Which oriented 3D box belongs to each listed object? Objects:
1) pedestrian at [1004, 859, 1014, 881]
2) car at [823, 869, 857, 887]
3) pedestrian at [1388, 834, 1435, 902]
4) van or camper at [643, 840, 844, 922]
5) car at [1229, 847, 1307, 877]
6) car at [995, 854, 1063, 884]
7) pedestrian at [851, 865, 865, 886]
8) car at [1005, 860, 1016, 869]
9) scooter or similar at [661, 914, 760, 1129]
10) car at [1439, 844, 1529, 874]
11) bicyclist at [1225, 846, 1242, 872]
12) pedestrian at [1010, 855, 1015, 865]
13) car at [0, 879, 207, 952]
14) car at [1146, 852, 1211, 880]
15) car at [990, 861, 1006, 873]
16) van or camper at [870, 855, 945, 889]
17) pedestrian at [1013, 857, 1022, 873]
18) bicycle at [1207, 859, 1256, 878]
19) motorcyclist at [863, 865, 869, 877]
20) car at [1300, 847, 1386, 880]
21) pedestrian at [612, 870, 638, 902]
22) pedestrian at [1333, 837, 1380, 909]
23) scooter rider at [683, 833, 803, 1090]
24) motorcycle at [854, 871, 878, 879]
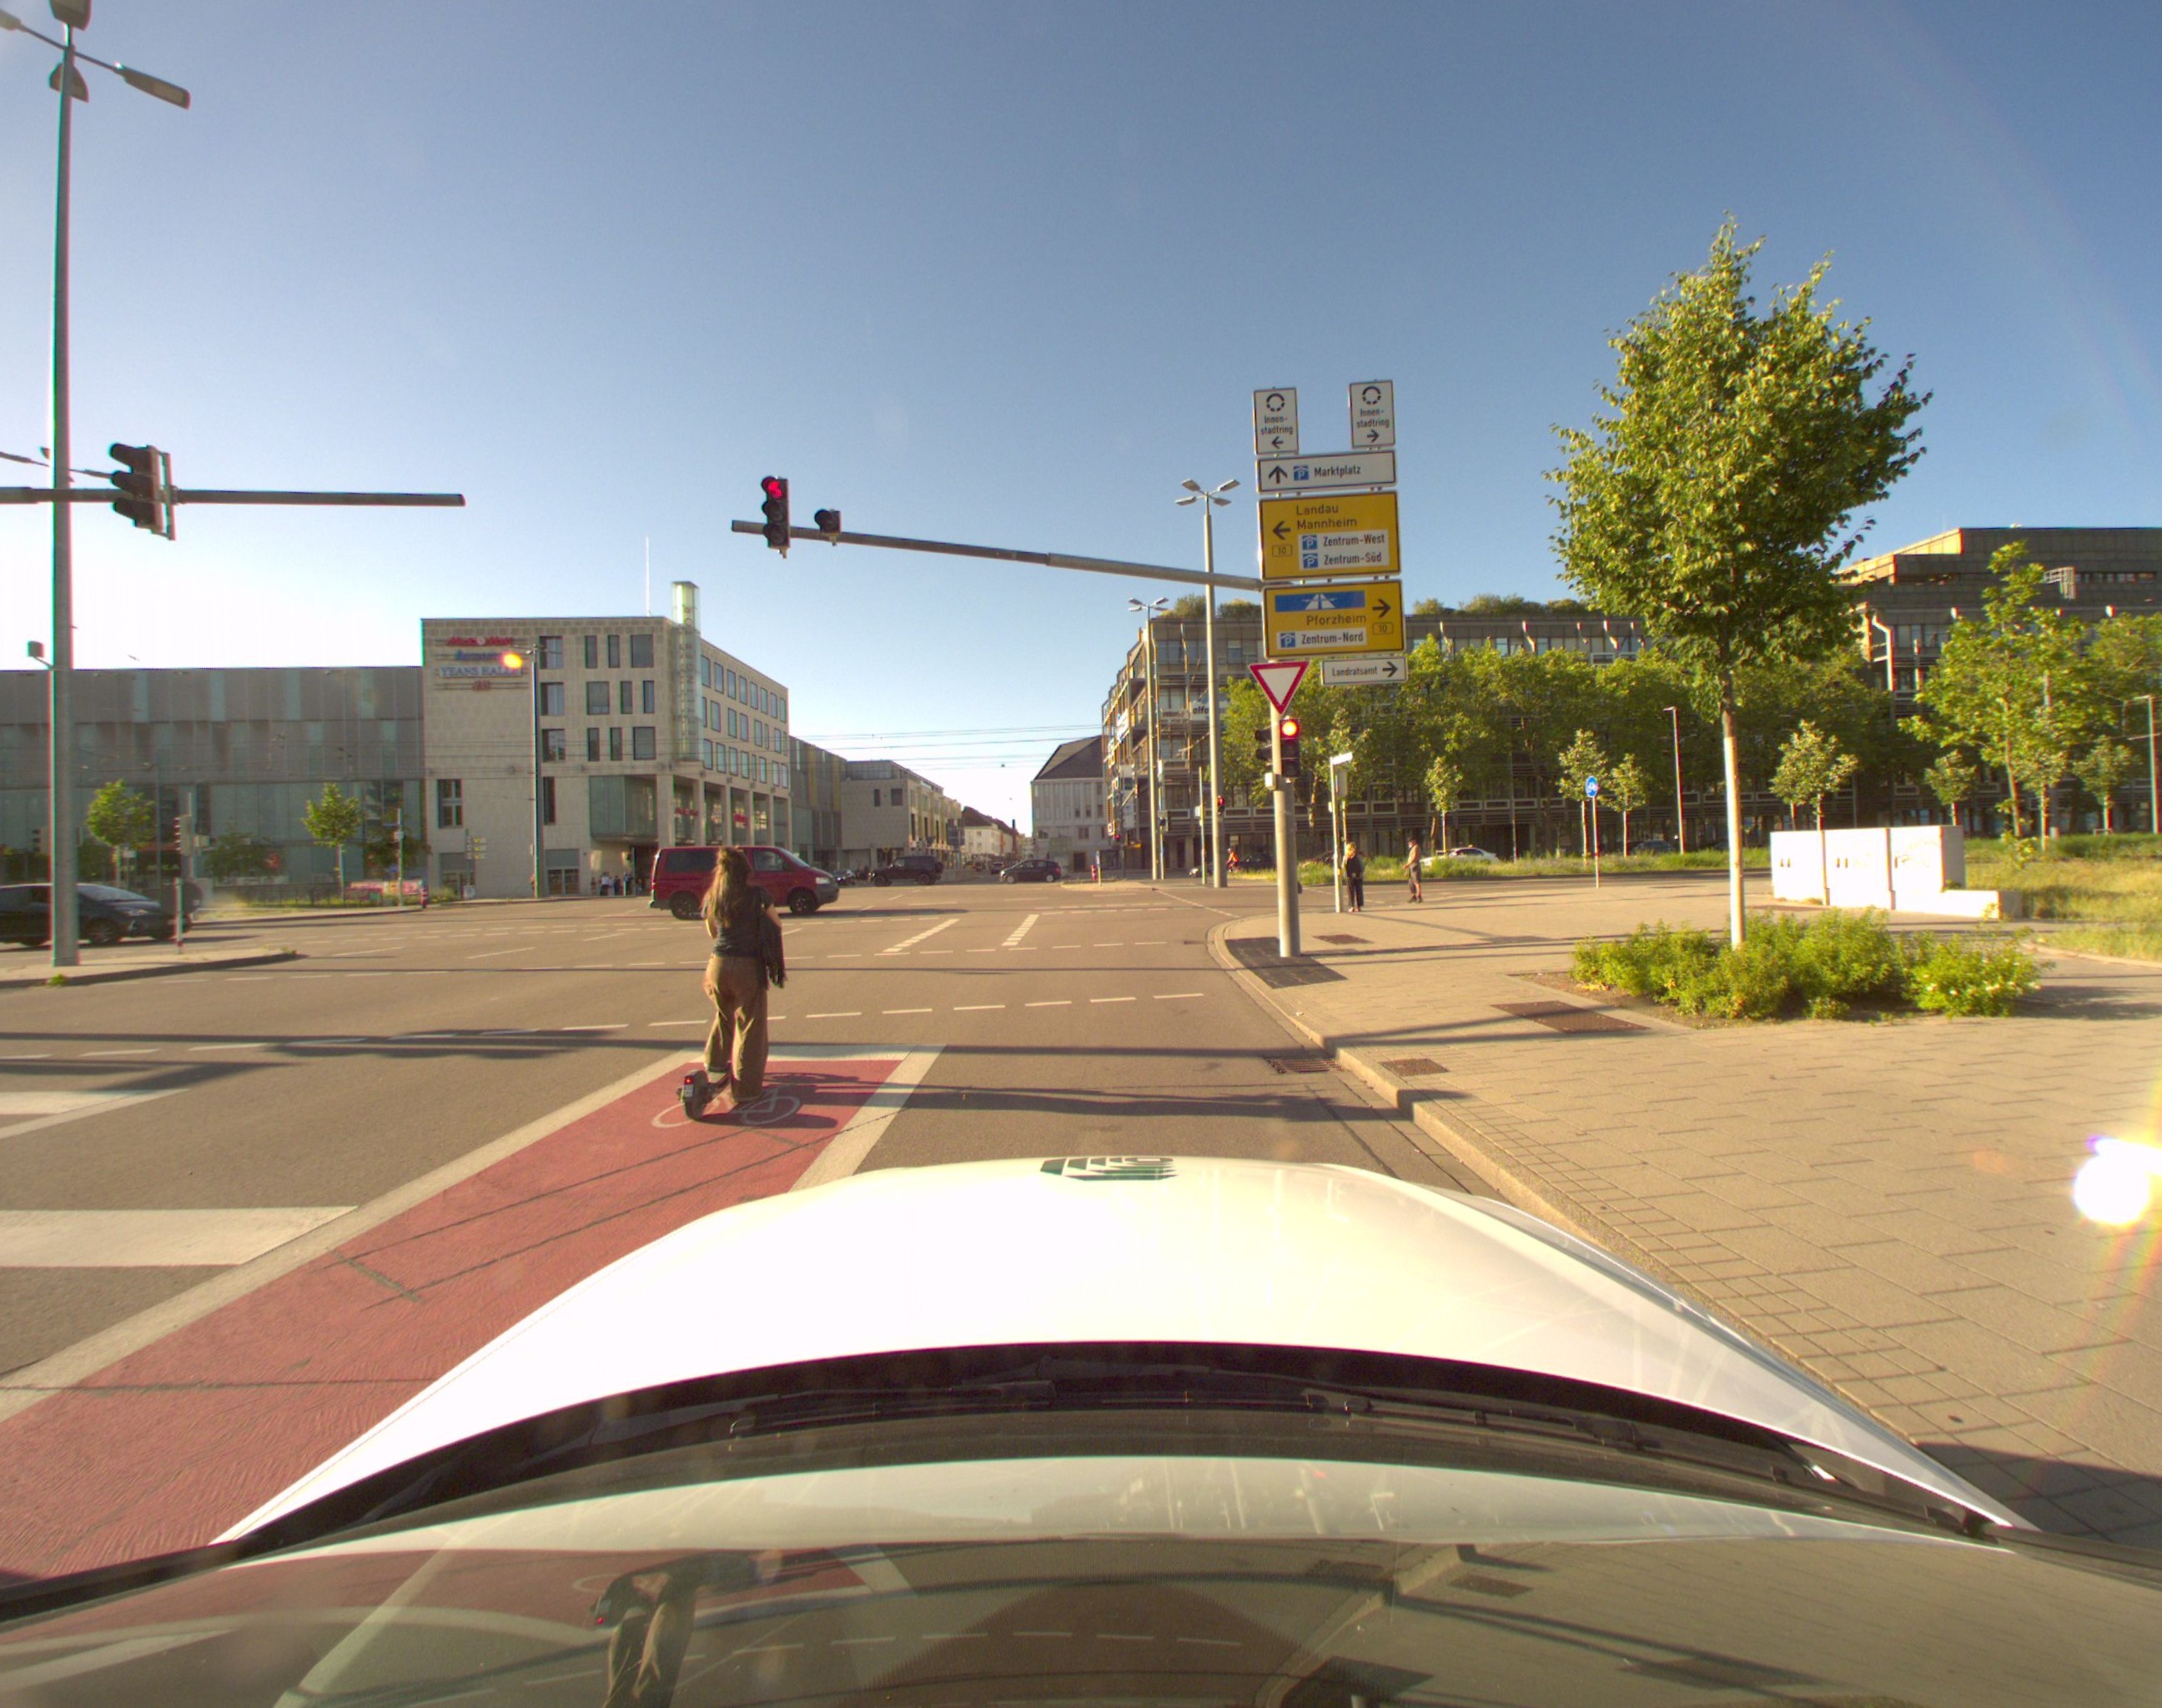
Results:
[{"bbox_3d":[-5.682,1.287,64.188,0.697,1.688,0.620,-2,0,2],"label":"pedestrian"},{"bbox_3d":[-20.821,2.064,70.459,1.670,1.357,4.021,-2,0,1],"label":"car"},{"bbox_3d":[8.550,0.362,21.101,0.869,1.706,0.768,-2,0,0],"label":"pedestrian"},{"bbox_3d":[-9.262,0.702,22.787,4.830,2.013,1.999,-2,0,-12],"label":"van or camper"},{"bbox_3d":[11.569,0.465,50.493,4.392,1.684,1.824,-2,0,-2],"label":"car"},{"bbox_3d":[-3.149,0.888,50.077,3.973,1.684,1.761,-2,0,0],"label":"car"},{"bbox_3d":[-17.436,1.688,63.668,0.769,1.638,0.630,-2,0,32],"label":"pedestrian"},{"bbox_3d":[-12.625,1.836,146.187,1.652,1.458,3.543,-2,0,2],"label":"car"},{"bbox_3d":[-2.211,0.953,4.913,0.306,1.107,0.835,-2,0,-9],"label":"scooter or similar"},{"bbox_3d":[25.409,0.285,51.447,4.831,1.684,1.824,-2,0,-2],"label":"car"},{"bbox_3d":[8.822,0.307,47.062,0.820,1.474,0.652,-2,0,-2],"label":"bicyclist"},{"bbox_3d":[-13.894,1.188,165.255,0.907,1.965,0.823,0,-1,1],"label":"pedestrian"},{"bbox_3d":[-23.945,1.441,19.458,3.865,1.510,1.664,-2,0,-13],"label":"car"},{"bbox_3d":[6.353,0.765,53.435,3.976,1.684,1.824,-2,0,-2],"label":"car"},{"bbox_3d":[-11.013,1.749,108.520,1.652,1.458,3.543,-2,0,2],"label":"car"},{"bbox_3d":[-11.283,1.153,53.233,4.404,2.013,1.993,-2,0,-3],"label":"van or camper"},{"bbox_3d":[-7.394,1.291,95.428,0.896,1.782,0.809,-2,0,1],"label":"pedestrian"},{"bbox_3d":[8.677,0.821,47.046,2.561,0.975,1.047,-2,0,-1],"label":"bicycle"},{"bbox_3d":[-26.214,2.076,99.216,0.627,1.406,0.661,0,-1,-7],"label":"motorcyclist"},{"bbox_3d":[14.857,0.519,46.257,4.287,1.684,1.820,-2,0,-9],"label":"car"},{"bbox_3d":[-25.140,1.765,44.903,0.821,1.675,1.004,-2,0,-2],"label":"pedestrian"},{"bbox_3d":[6.383,0.427,18.912,0.763,1.614,0.874,-2,0,0],"label":"pedestrian"},{"bbox_3d":[-2.124,0.646,5.162,0.552,1.530,0.448,-2,0,-7],"label":"scooter rider"},{"bbox_3d":[-26.142,2.543,99.035,2.600,0.993,1.113,0,-1,-8],"label":"motorcycle"}]
